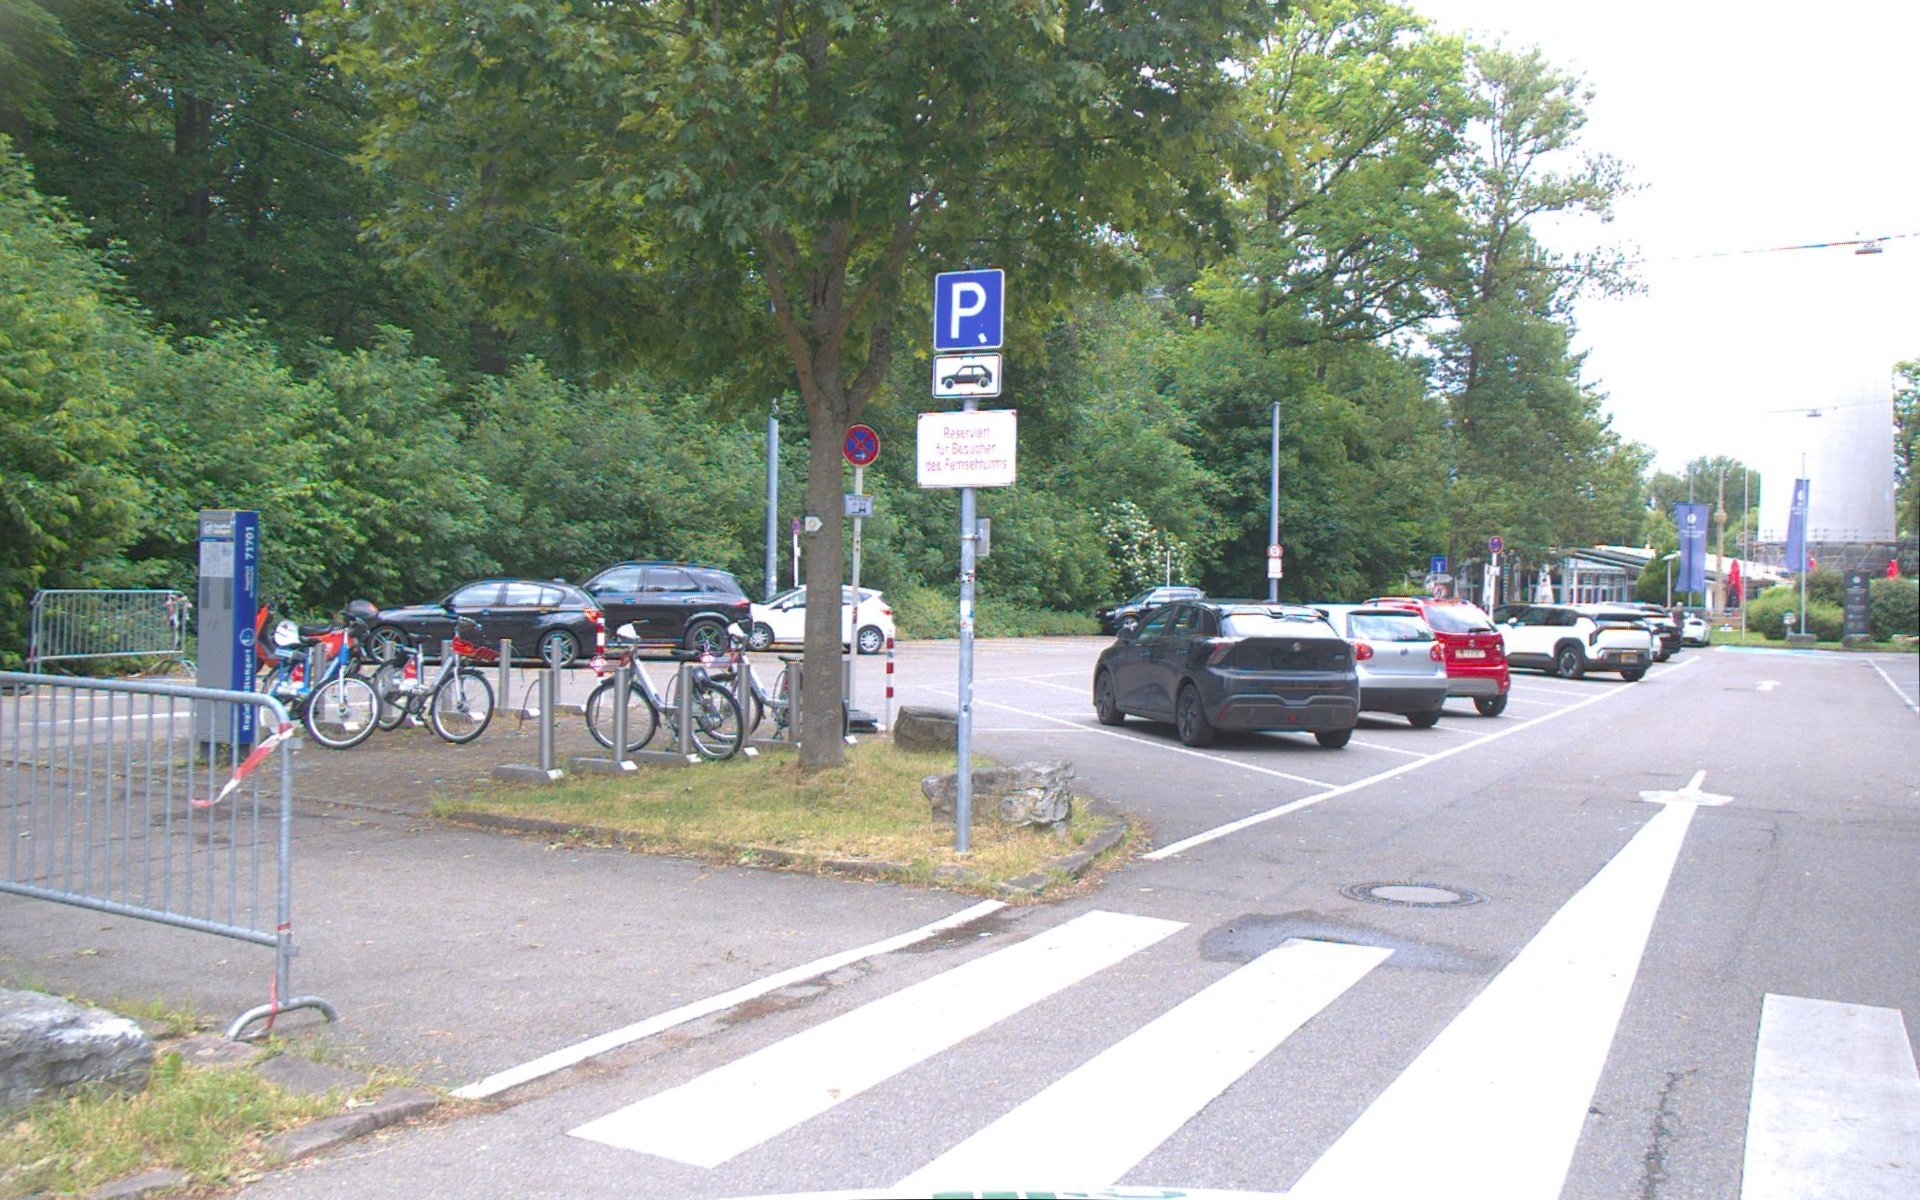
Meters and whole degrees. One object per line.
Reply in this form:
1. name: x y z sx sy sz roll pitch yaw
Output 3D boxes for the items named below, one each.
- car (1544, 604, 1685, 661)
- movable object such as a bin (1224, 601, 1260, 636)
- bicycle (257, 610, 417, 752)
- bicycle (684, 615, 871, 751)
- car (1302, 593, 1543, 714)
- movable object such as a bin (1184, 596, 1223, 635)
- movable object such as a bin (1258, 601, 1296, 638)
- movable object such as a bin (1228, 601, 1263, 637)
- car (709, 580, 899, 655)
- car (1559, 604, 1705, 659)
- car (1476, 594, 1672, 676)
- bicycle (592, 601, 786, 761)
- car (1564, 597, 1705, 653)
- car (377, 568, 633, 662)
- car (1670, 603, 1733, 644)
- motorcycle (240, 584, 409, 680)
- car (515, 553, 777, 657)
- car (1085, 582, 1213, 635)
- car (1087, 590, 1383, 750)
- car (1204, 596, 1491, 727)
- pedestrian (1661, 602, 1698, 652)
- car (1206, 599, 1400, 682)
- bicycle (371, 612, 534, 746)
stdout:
1. car: 18.367 0.890 46.607 1.738 1.468 3.830 1 0 -16
2. movable object such as a bin: 11.034 0.711 64.663 1.101 1.343 1.239 1 0 24
3. bicycle: -5.471 0.682 14.481 1.664 1.131 0.480 2 0 37
4. bicycle: -1.679 0.730 15.055 1.751 1.131 0.481 2 0 32
5. car: 6.707 0.733 24.358 1.656 1.613 3.635 1 0 -19
6. movable object such as a bin: 9.258 0.594 62.855 1.103 1.450 1.128 1 0 32
7. movable object such as a bin: 12.035 0.731 62.843 1.145 1.330 1.313 1 0 -1
8. movable object such as a bin: 10.864 0.713 62.887 1.100 1.337 1.184 1 0 -1
9. car: -3.466 0.380 36.563 3.922 1.537 1.862 1 0 -16
10. car: 19.958 0.914 49.316 1.727 1.468 4.257 1 0 -18
11. car: 13.345 0.722 36.209 1.812 1.624 4.168 1 0 -18
12. bicycle: -2.314 0.660 14.025 1.650 1.130 0.481 7 3 32
13. car: 21.425 0.760 52.729 1.795 1.637 4.367 1 0 -17
14. car: -7.496 0.248 27.409 3.922 1.400 1.732 2 0 -16
15. car: 28.591 0.879 63.702 1.858 1.453 3.993 1 0 29
16. motorcycle: -8.617 0.430 22.506 1.984 1.229 0.730 2 0 -6
17. car: -5.880 0.095 30.836 4.617 1.798 2.103 1 0 -16
18. car: 6.522 0.297 57.187 3.991 1.714 1.873 1 0 -15
19. car: 2.917 0.700 18.482 1.793 1.549 4.086 2 0 -13
20. car: 4.952 0.742 21.713 1.842 1.509 3.979 2 0 -19
21. pedestrian: 25.585 0.963 58.827 0.879 1.755 0.761 1 0 -15
22. car: 6.678 0.758 32.717 1.835 1.467 4.293 1 0 -19
23. bicycle: -4.707 0.703 15.298 1.651 1.131 0.504 2 0 35
